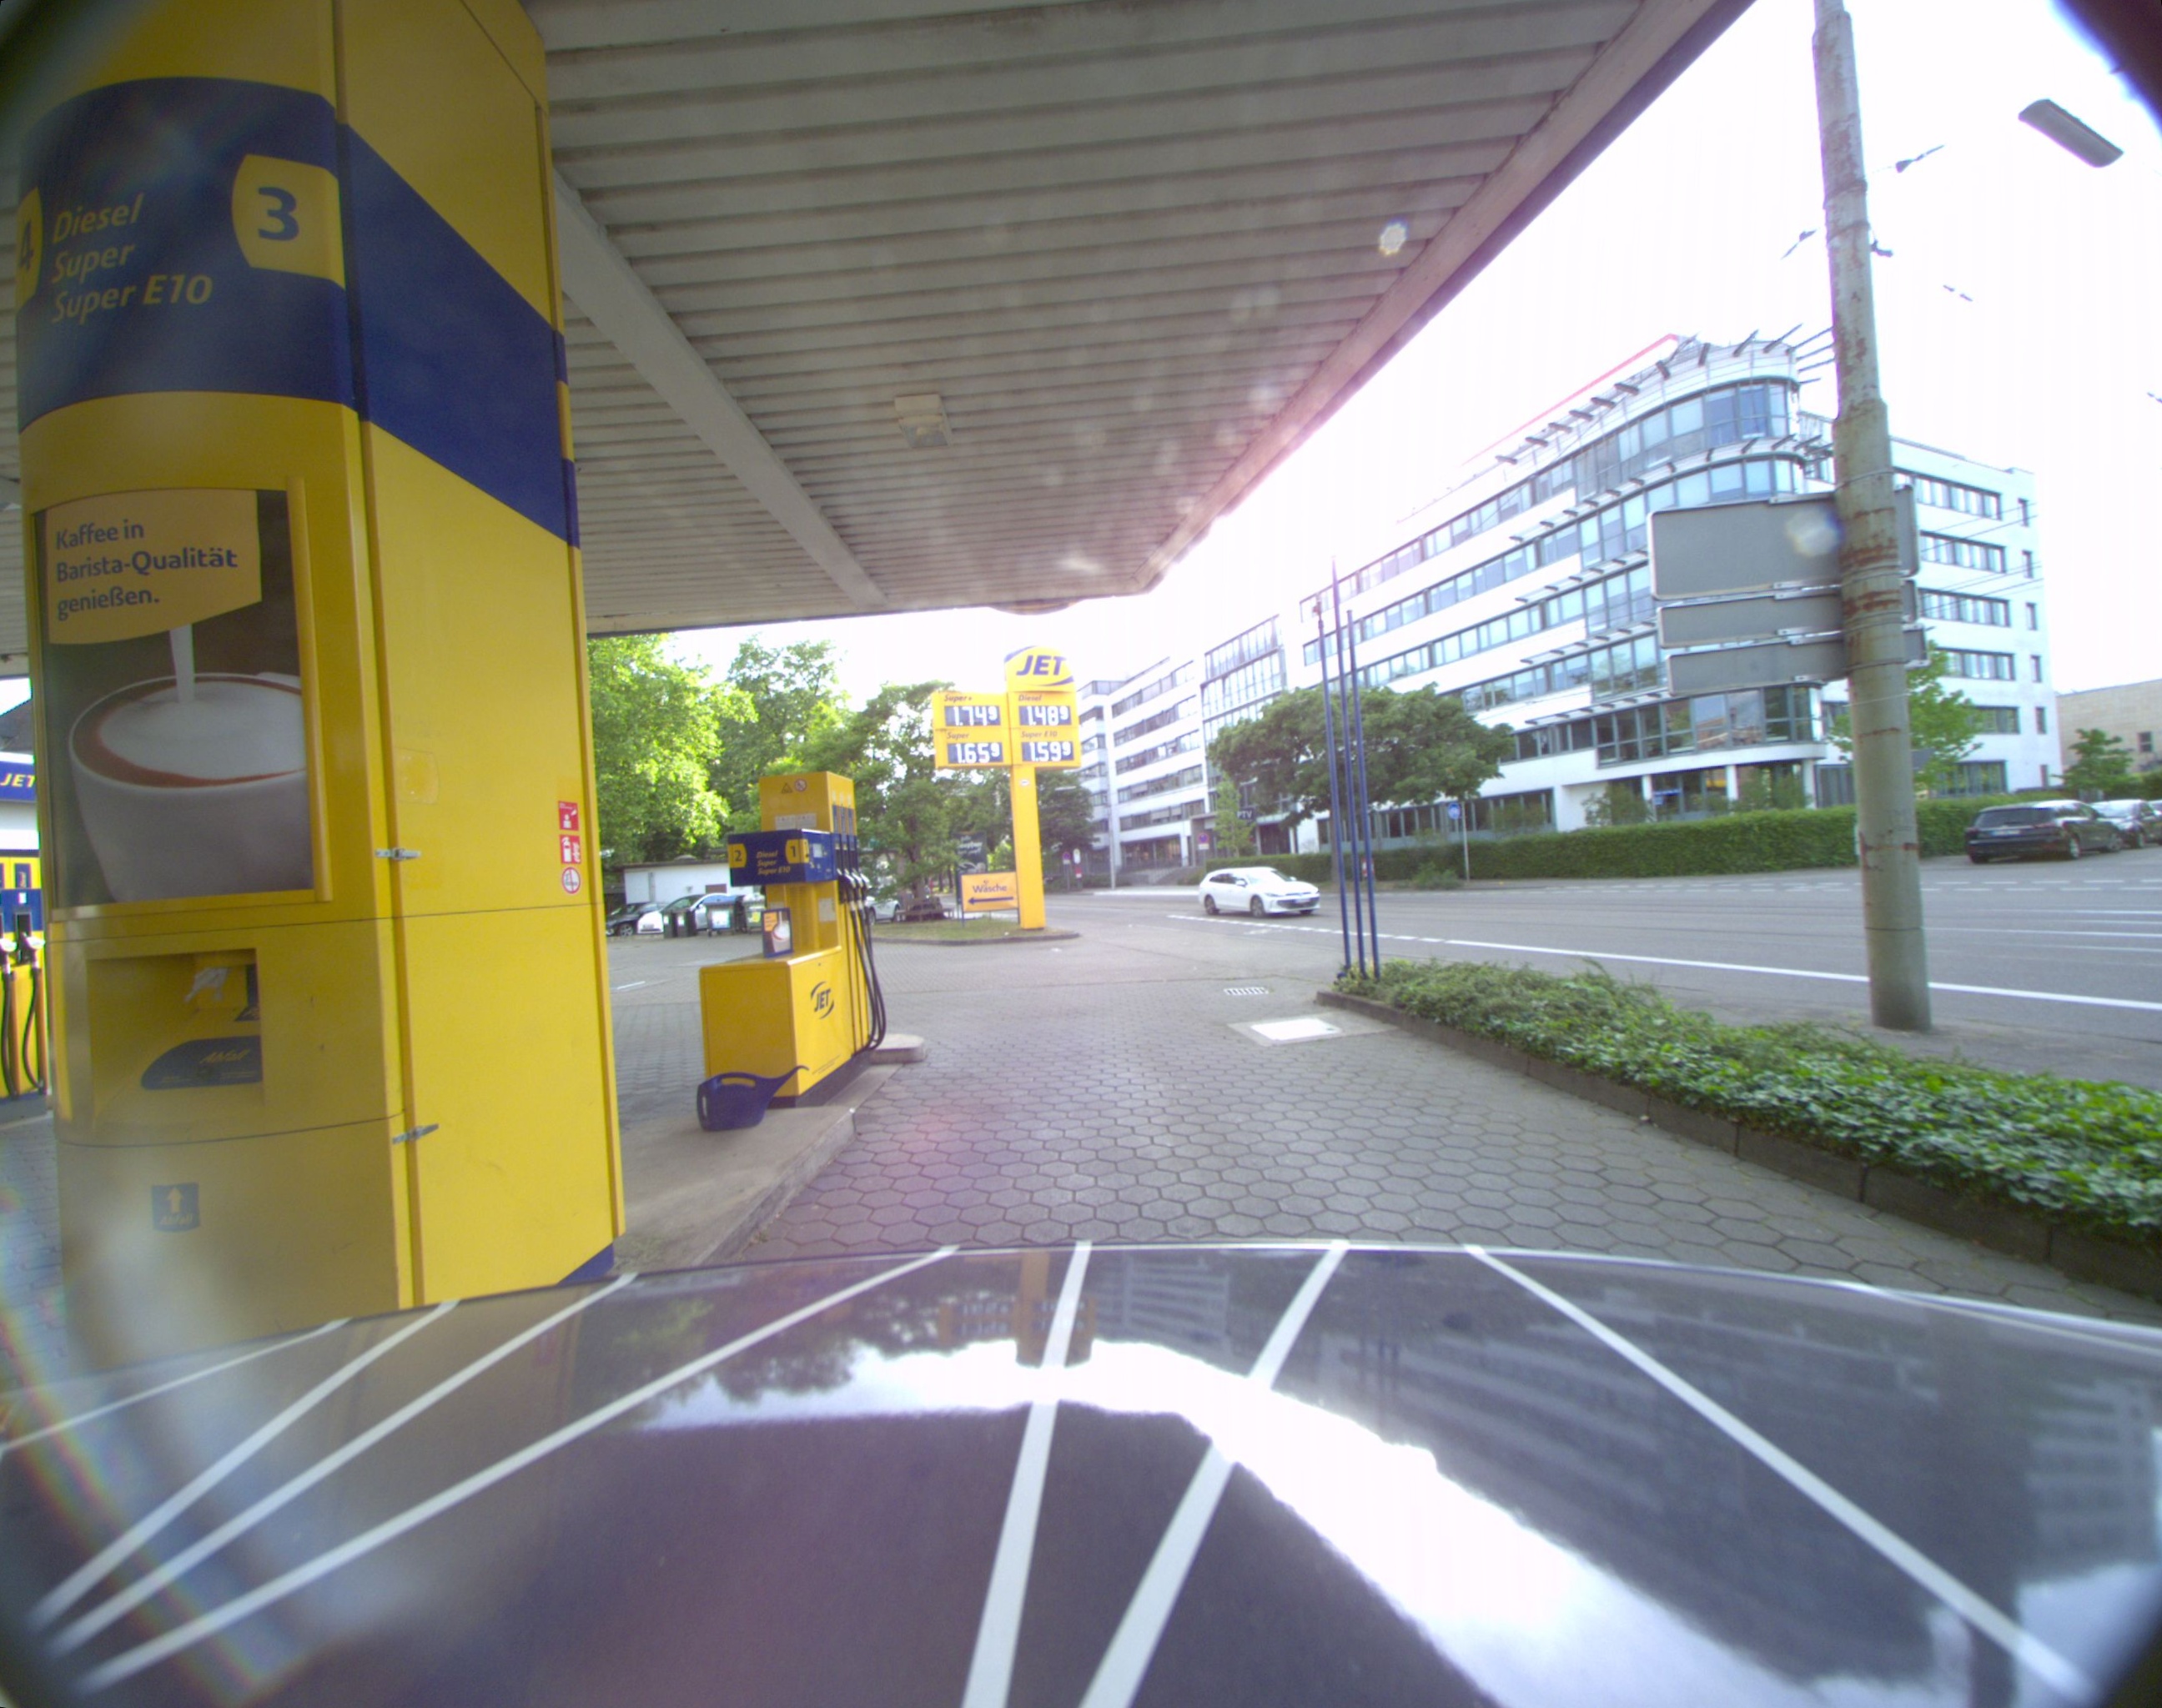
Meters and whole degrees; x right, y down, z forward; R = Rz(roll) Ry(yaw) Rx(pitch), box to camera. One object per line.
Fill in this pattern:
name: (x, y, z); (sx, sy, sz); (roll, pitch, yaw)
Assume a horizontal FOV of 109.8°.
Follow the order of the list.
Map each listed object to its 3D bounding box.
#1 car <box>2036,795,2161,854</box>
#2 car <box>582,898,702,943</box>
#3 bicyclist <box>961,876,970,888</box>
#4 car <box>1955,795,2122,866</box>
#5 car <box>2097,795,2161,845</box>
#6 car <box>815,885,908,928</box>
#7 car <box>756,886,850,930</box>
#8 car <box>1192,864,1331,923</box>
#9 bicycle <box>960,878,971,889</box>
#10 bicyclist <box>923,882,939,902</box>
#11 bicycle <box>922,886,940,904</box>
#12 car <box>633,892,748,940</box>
car: (32.581, -0.959, 24.061); (4.201, 1.568, 1.820); (-4, -1, -24)
car: (-17.529, 2.630, 30.599); (1.823, 1.426, 4.200); (-4, -2, 10)
bicyclist: (-13.988, 3.375, 91.713); (0.792, 1.443, 1.174); (-3, 1, -22)
car: (27.423, -0.670, 21.750); (4.397, 1.678, 1.820); (-4, -1, -24)
car: (37.110, -1.253, 26.009); (4.201, 1.568, 1.820); (-4, -1, -24)
car: (-8.652, 2.046, 30.369); (1.823, 1.449, 4.200); (-4, -2, 10)
car: (-11.742, 2.264, 32.456); (1.823, 1.575, 4.200); (-4, -2, 10)
car: (5.478, 1.184, 23.824); (1.865, 1.500, 4.821); (-5, 0, -19)
bicycle: (-13.952, 3.603, 91.652); (0.792, 1.232, 1.879); (-2, 0, -22)
bicyclist: (-11.366, 2.862, 57.489); (0.854, 1.415, 1.036); (-5, 2, -22)
bicycle: (-11.384, 3.116, 57.553); (0.854, 1.232, 1.879); (-5, 1, -22)
car: (-15.385, 2.411, 30.244); (1.823, 1.575, 4.200); (-4, -2, 10)
